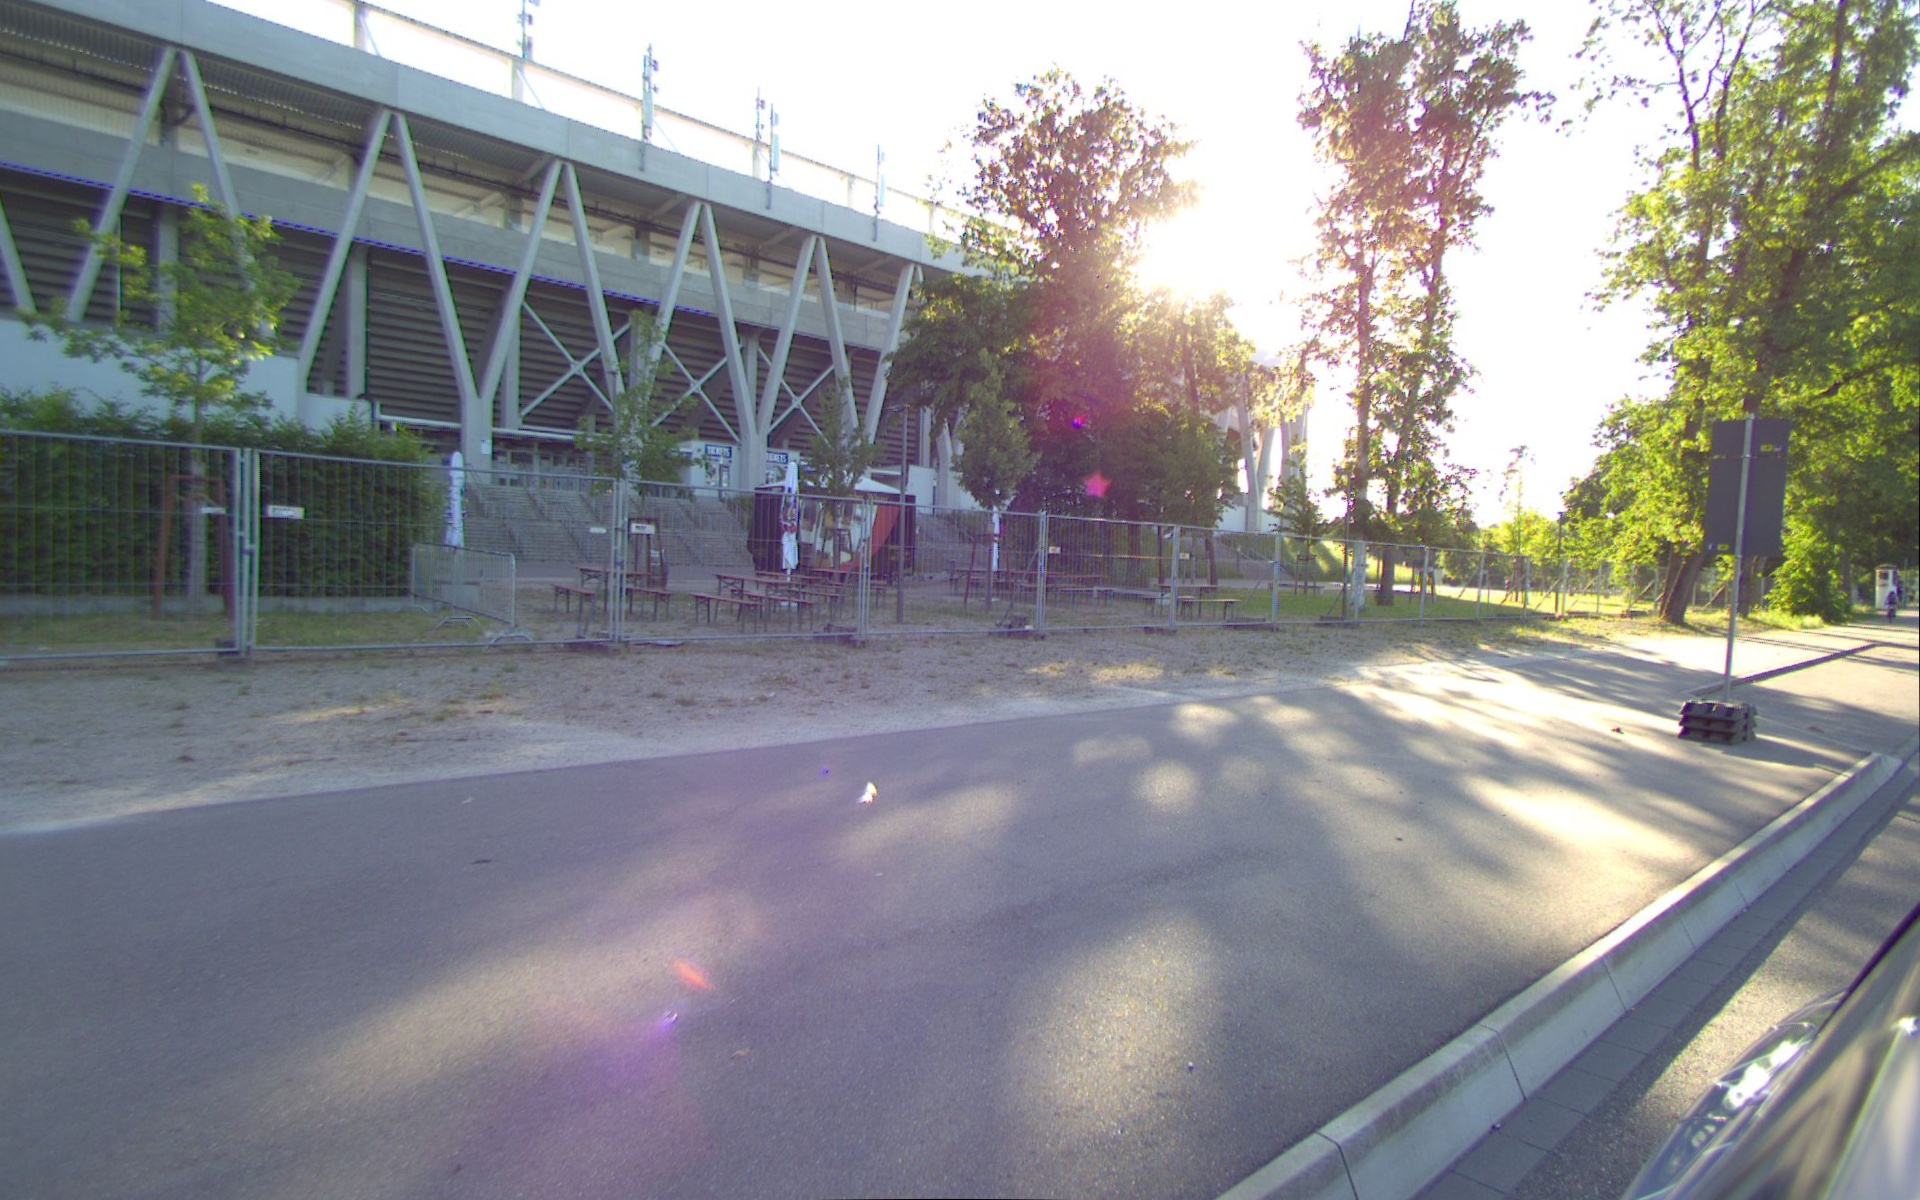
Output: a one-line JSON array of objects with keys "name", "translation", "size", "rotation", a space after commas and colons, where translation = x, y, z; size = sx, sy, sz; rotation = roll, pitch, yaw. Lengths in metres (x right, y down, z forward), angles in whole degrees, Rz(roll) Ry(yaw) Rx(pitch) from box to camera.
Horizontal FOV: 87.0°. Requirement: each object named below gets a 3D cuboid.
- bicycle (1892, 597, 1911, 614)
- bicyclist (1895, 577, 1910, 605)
[{"name": "bicycle", "translation": [48.184, 0.270, 51.795], "size": [1.876, 0.869, 0.481], "rotation": [0, 2, -41]}, {"name": "bicyclist", "translation": [48.336, -0.451, 51.882], "size": [0.565, 1.438, 0.451], "rotation": [0, 2, -40]}]
